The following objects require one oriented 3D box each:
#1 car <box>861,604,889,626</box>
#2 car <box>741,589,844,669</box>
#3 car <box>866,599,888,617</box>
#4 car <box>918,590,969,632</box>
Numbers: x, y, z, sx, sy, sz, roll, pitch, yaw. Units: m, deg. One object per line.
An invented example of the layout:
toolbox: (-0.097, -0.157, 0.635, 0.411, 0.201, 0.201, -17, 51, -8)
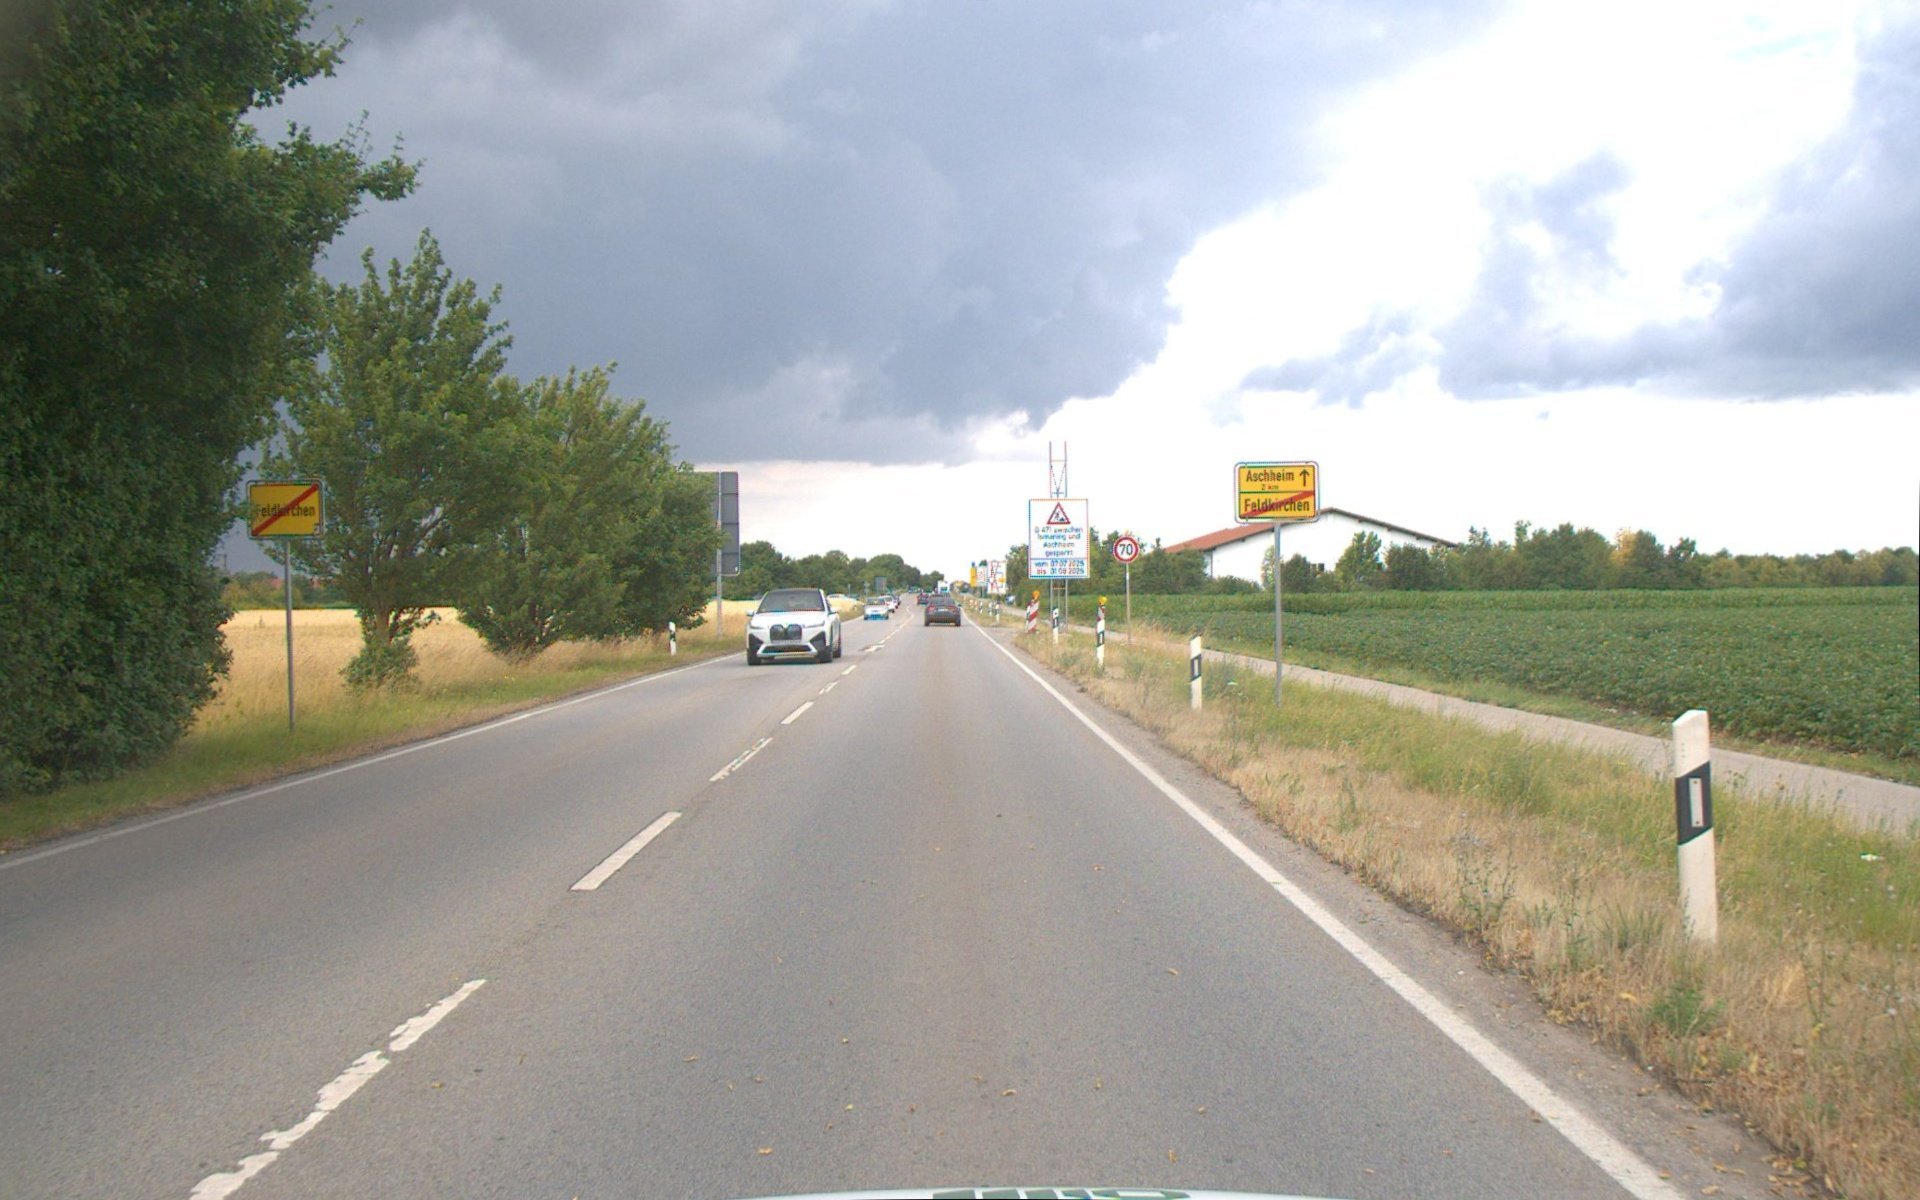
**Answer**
car: (-5.587, 0.945, 108.804, 1.693, 1.387, 3.949, -1, 0, -1)
car: (-3.851, 0.636, 38.726, 1.953, 1.713, 4.809, -1, 0, -1)
car: (-7.326, 0.686, 146.391, 1.769, 1.482, 4.113, -1, 0, -1)
car: (-0.860, 0.545, 82.379, 2.325, 1.913, 4.475, -2, 0, -3)
